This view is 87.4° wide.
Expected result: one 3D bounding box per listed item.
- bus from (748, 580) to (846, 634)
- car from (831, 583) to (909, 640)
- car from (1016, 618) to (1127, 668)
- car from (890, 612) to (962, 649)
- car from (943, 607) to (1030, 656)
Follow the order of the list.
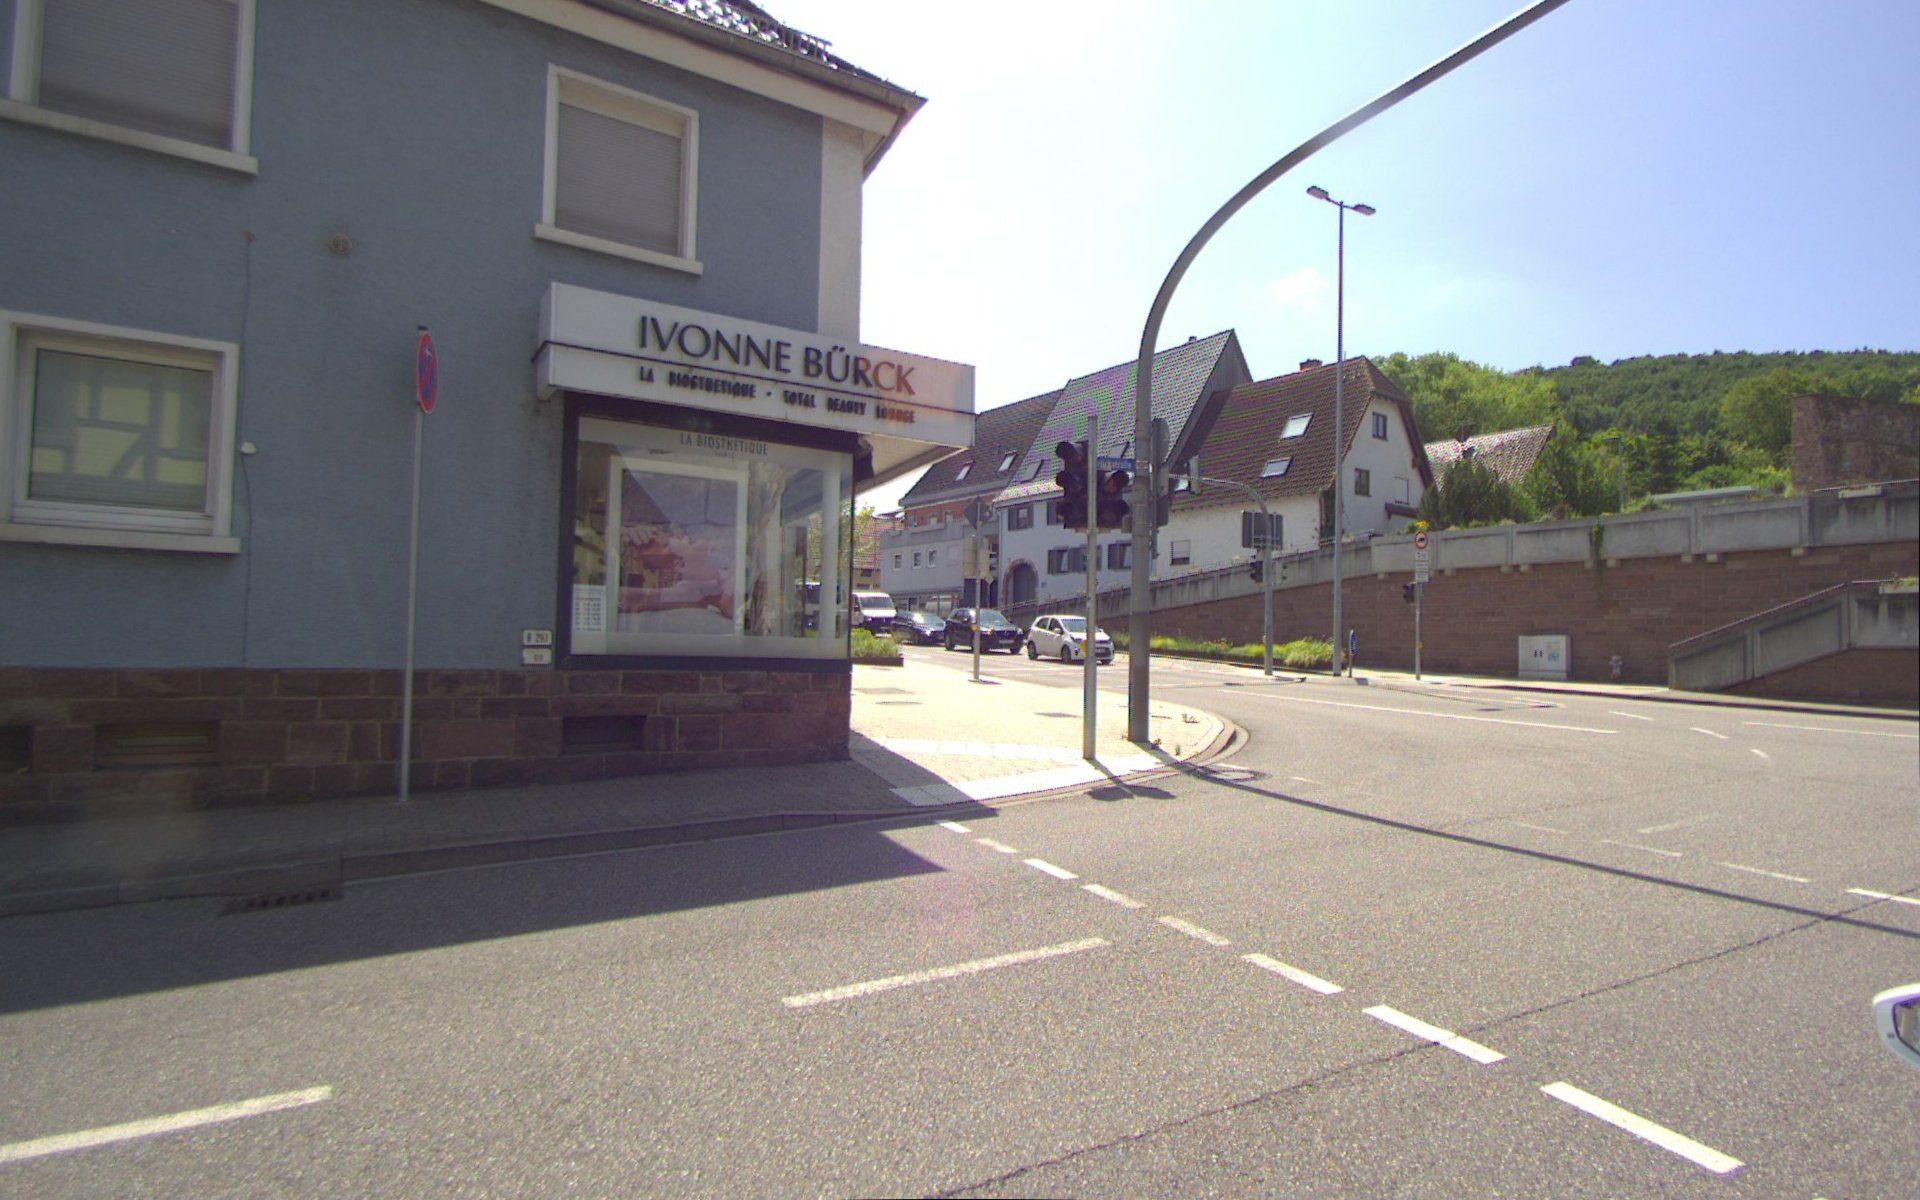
[{"bbox_3d":[-10.844,0.449,65.238,2.515,3.211,12.561,1,0,-27],"label":"bus"},{"bbox_3d":[-4.897,0.597,53.545,2.272,2.859,6.468,0,0,-23],"label":"car"},{"bbox_3d":[3.570,1.357,32.878,1.838,1.499,3.976,0,0,-24],"label":"car"},{"bbox_3d":[-1.551,1.312,44.371,1.838,1.499,3.976,0,0,-24],"label":"car"},{"bbox_3d":[0.941,1.139,38.134,1.838,1.737,3.977,0,0,-23],"label":"car"}]
